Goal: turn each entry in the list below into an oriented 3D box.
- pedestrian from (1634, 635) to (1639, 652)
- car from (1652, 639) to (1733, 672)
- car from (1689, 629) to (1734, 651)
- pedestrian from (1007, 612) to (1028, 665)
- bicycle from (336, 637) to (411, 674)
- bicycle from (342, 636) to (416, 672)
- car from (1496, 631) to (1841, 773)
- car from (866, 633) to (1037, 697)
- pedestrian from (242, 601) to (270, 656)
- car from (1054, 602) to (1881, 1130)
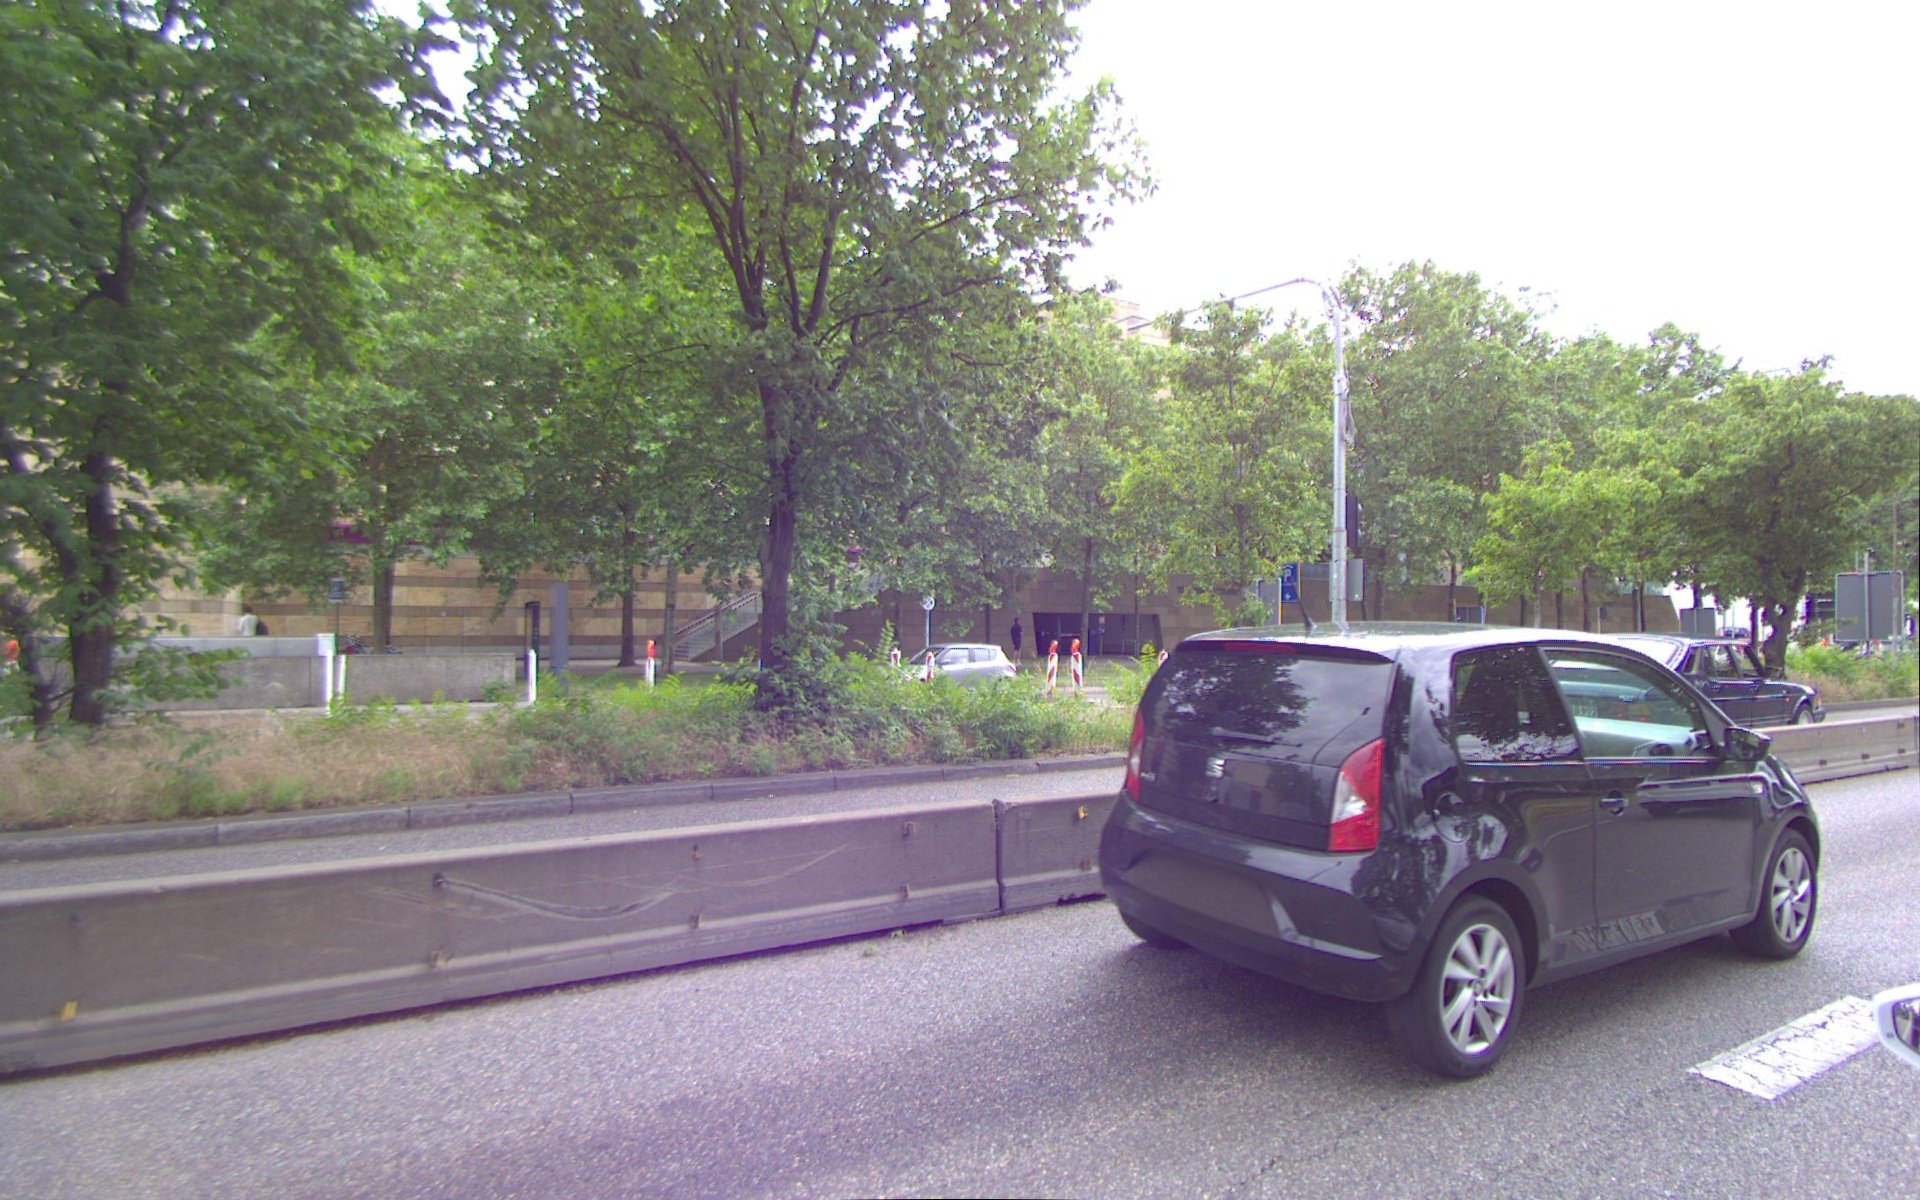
[{"bbox_3d":[44.317,2.830,65.785,0.212,1.093,0.258,2,1,42],"label":"pedestrian"},{"bbox_3d":[33.164,2.473,45.444,3.759,1.401,1.652,1,-1,-31],"label":"car"},{"bbox_3d":[69.139,3.691,92.361,3.954,1.940,1.984,1,-1,-31],"label":"car"},{"bbox_3d":[2.252,1.513,39.423,0.657,2.040,0.449,1,-1,-30],"label":"pedestrian"},{"bbox_3d":[-16.950,1.605,29.062,1.820,1.008,0.487,2,0,-25],"label":"bicycle"},{"bbox_3d":[-17.176,1.596,29.754,1.820,1.004,0.564,2,0,-25],"label":"bicycle"},{"bbox_3d":[8.435,1.077,11.850,4.490,1.385,1.670,1,-1,-31],"label":"car"},{"bbox_3d":[-0.197,1.591,25.366,3.953,1.477,1.840,1,-1,-31],"label":"car"},{"bbox_3d":[-20.354,0.826,29.038,0.616,1.590,0.434,1,-1,-38],"label":"pedestrian"},{"bbox_3d":[2.342,0.802,4.456,3.579,1.493,1.600,1,-1,-30],"label":"car"}]
